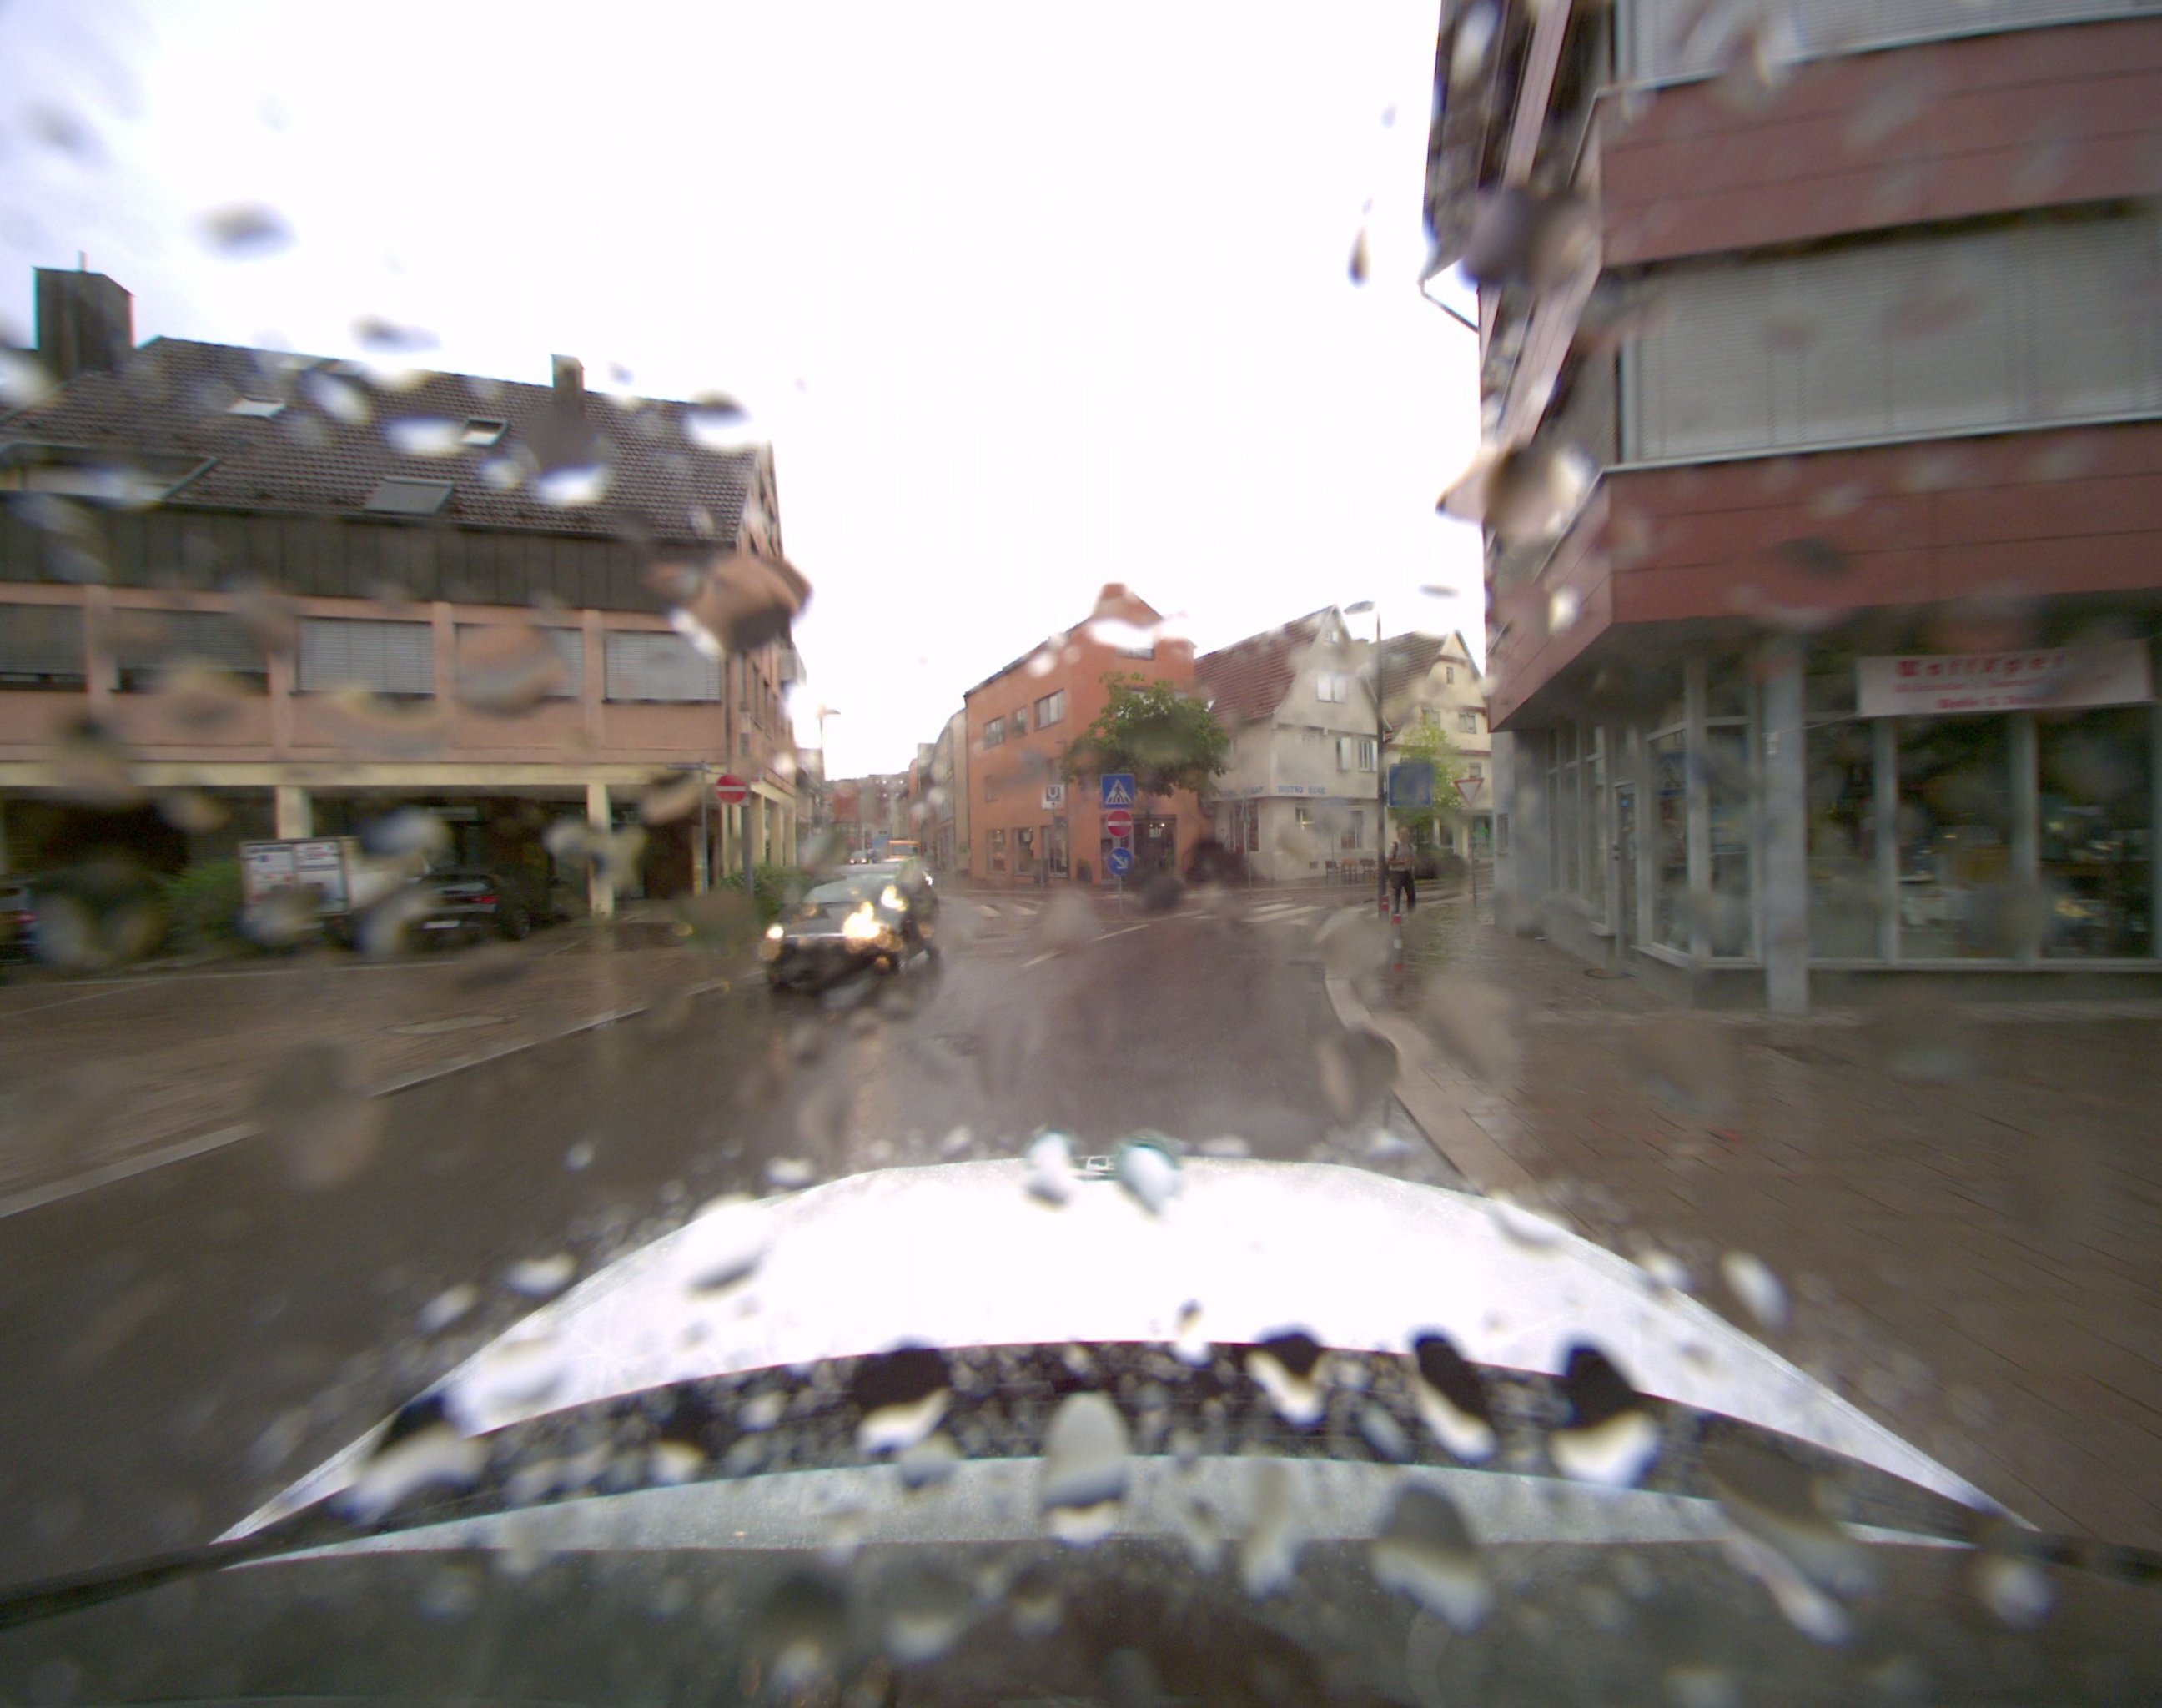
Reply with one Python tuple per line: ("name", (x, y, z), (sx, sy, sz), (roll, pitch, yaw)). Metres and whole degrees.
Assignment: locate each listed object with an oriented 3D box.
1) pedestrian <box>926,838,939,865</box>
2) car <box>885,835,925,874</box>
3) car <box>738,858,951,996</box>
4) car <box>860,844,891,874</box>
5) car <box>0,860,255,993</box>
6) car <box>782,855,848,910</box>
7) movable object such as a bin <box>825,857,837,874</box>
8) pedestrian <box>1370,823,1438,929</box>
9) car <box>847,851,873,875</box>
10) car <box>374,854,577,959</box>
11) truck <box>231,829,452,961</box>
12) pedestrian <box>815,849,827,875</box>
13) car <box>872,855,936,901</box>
("pedestrian", (-11.332, -0.220, 62.117), (0.869, 2.013, 0.703), (-2, 0, -18))
("car", (-10.865, 0.058, 50.044), (2.107, 2.146, 4.843), (-4, 0, -14))
("car", (-3.000, 0.835, 11.212), (1.643, 1.445, 3.984), (-3, 0, 1))
("car", (-15.896, 0.396, 62.717), (2.108, 2.146, 4.841), (-4, 0, -15))
("car", (-17.001, 1.122, 13.960), (1.811, 1.617, 3.991), (-2, 5, -8))
("car", (-7.815, 0.783, 24.108), (1.718, 1.458, 3.888), (-1, 0, -17))
("movable object such as a bin", (-20.396, 0.936, 66.408), (0.837, 1.382, 0.848), (-2, 0, -19))
("pedestrian", (6.051, 0.400, 15.277), (0.761, 1.914, 0.854), (-1, 0, -35))
("car", (-20.430, 0.796, 75.498), (1.995, 2.013, 4.345), (-4, 0, -12))
("car", (-11.555, 0.890, 15.884), (1.578, 1.478, 3.810), (-2, 4, -11))
("truck", (-13.977, 0.662, 15.661), (1.598, 2.062, 3.180), (-3, 5, -12))
("pedestrian", (-20.729, 0.646, 64.987), (0.837, 2.013, 0.848), (-2, 0, -19))
("car", (-6.398, 0.800, 29.102), (1.997, 1.441, 4.143), (-2, 0, -15))
